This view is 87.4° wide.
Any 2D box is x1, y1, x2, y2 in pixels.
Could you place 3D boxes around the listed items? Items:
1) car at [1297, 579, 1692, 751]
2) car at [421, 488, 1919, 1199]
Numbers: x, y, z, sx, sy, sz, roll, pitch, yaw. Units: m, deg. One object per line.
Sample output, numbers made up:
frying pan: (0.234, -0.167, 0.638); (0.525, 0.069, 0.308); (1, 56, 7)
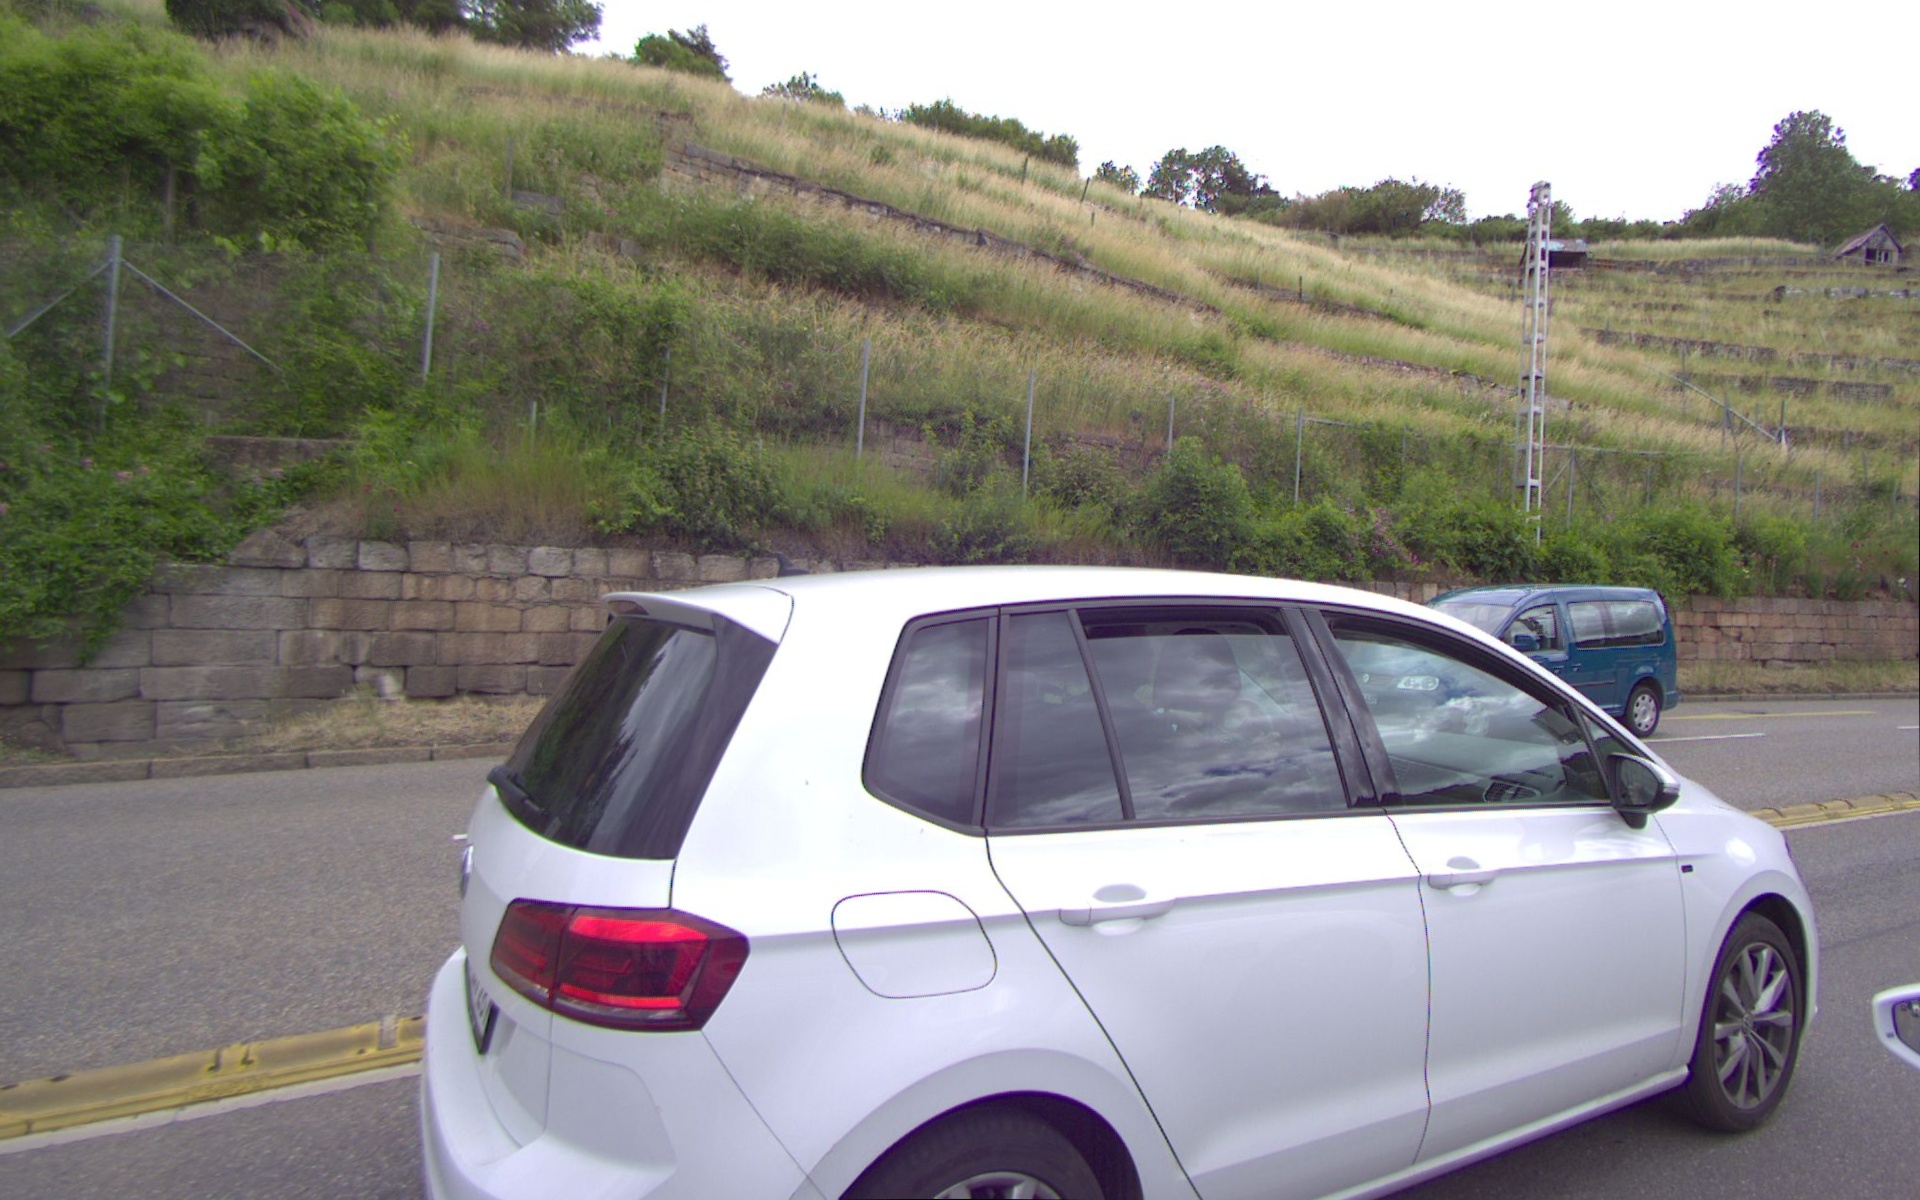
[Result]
car: (6.619, 0.695, 12.399); (4.669, 1.806, 1.845); (1, 1, -25)
car: (0.863, 0.699, 2.952); (4.303, 1.601, 1.813); (1, 0, -29)
